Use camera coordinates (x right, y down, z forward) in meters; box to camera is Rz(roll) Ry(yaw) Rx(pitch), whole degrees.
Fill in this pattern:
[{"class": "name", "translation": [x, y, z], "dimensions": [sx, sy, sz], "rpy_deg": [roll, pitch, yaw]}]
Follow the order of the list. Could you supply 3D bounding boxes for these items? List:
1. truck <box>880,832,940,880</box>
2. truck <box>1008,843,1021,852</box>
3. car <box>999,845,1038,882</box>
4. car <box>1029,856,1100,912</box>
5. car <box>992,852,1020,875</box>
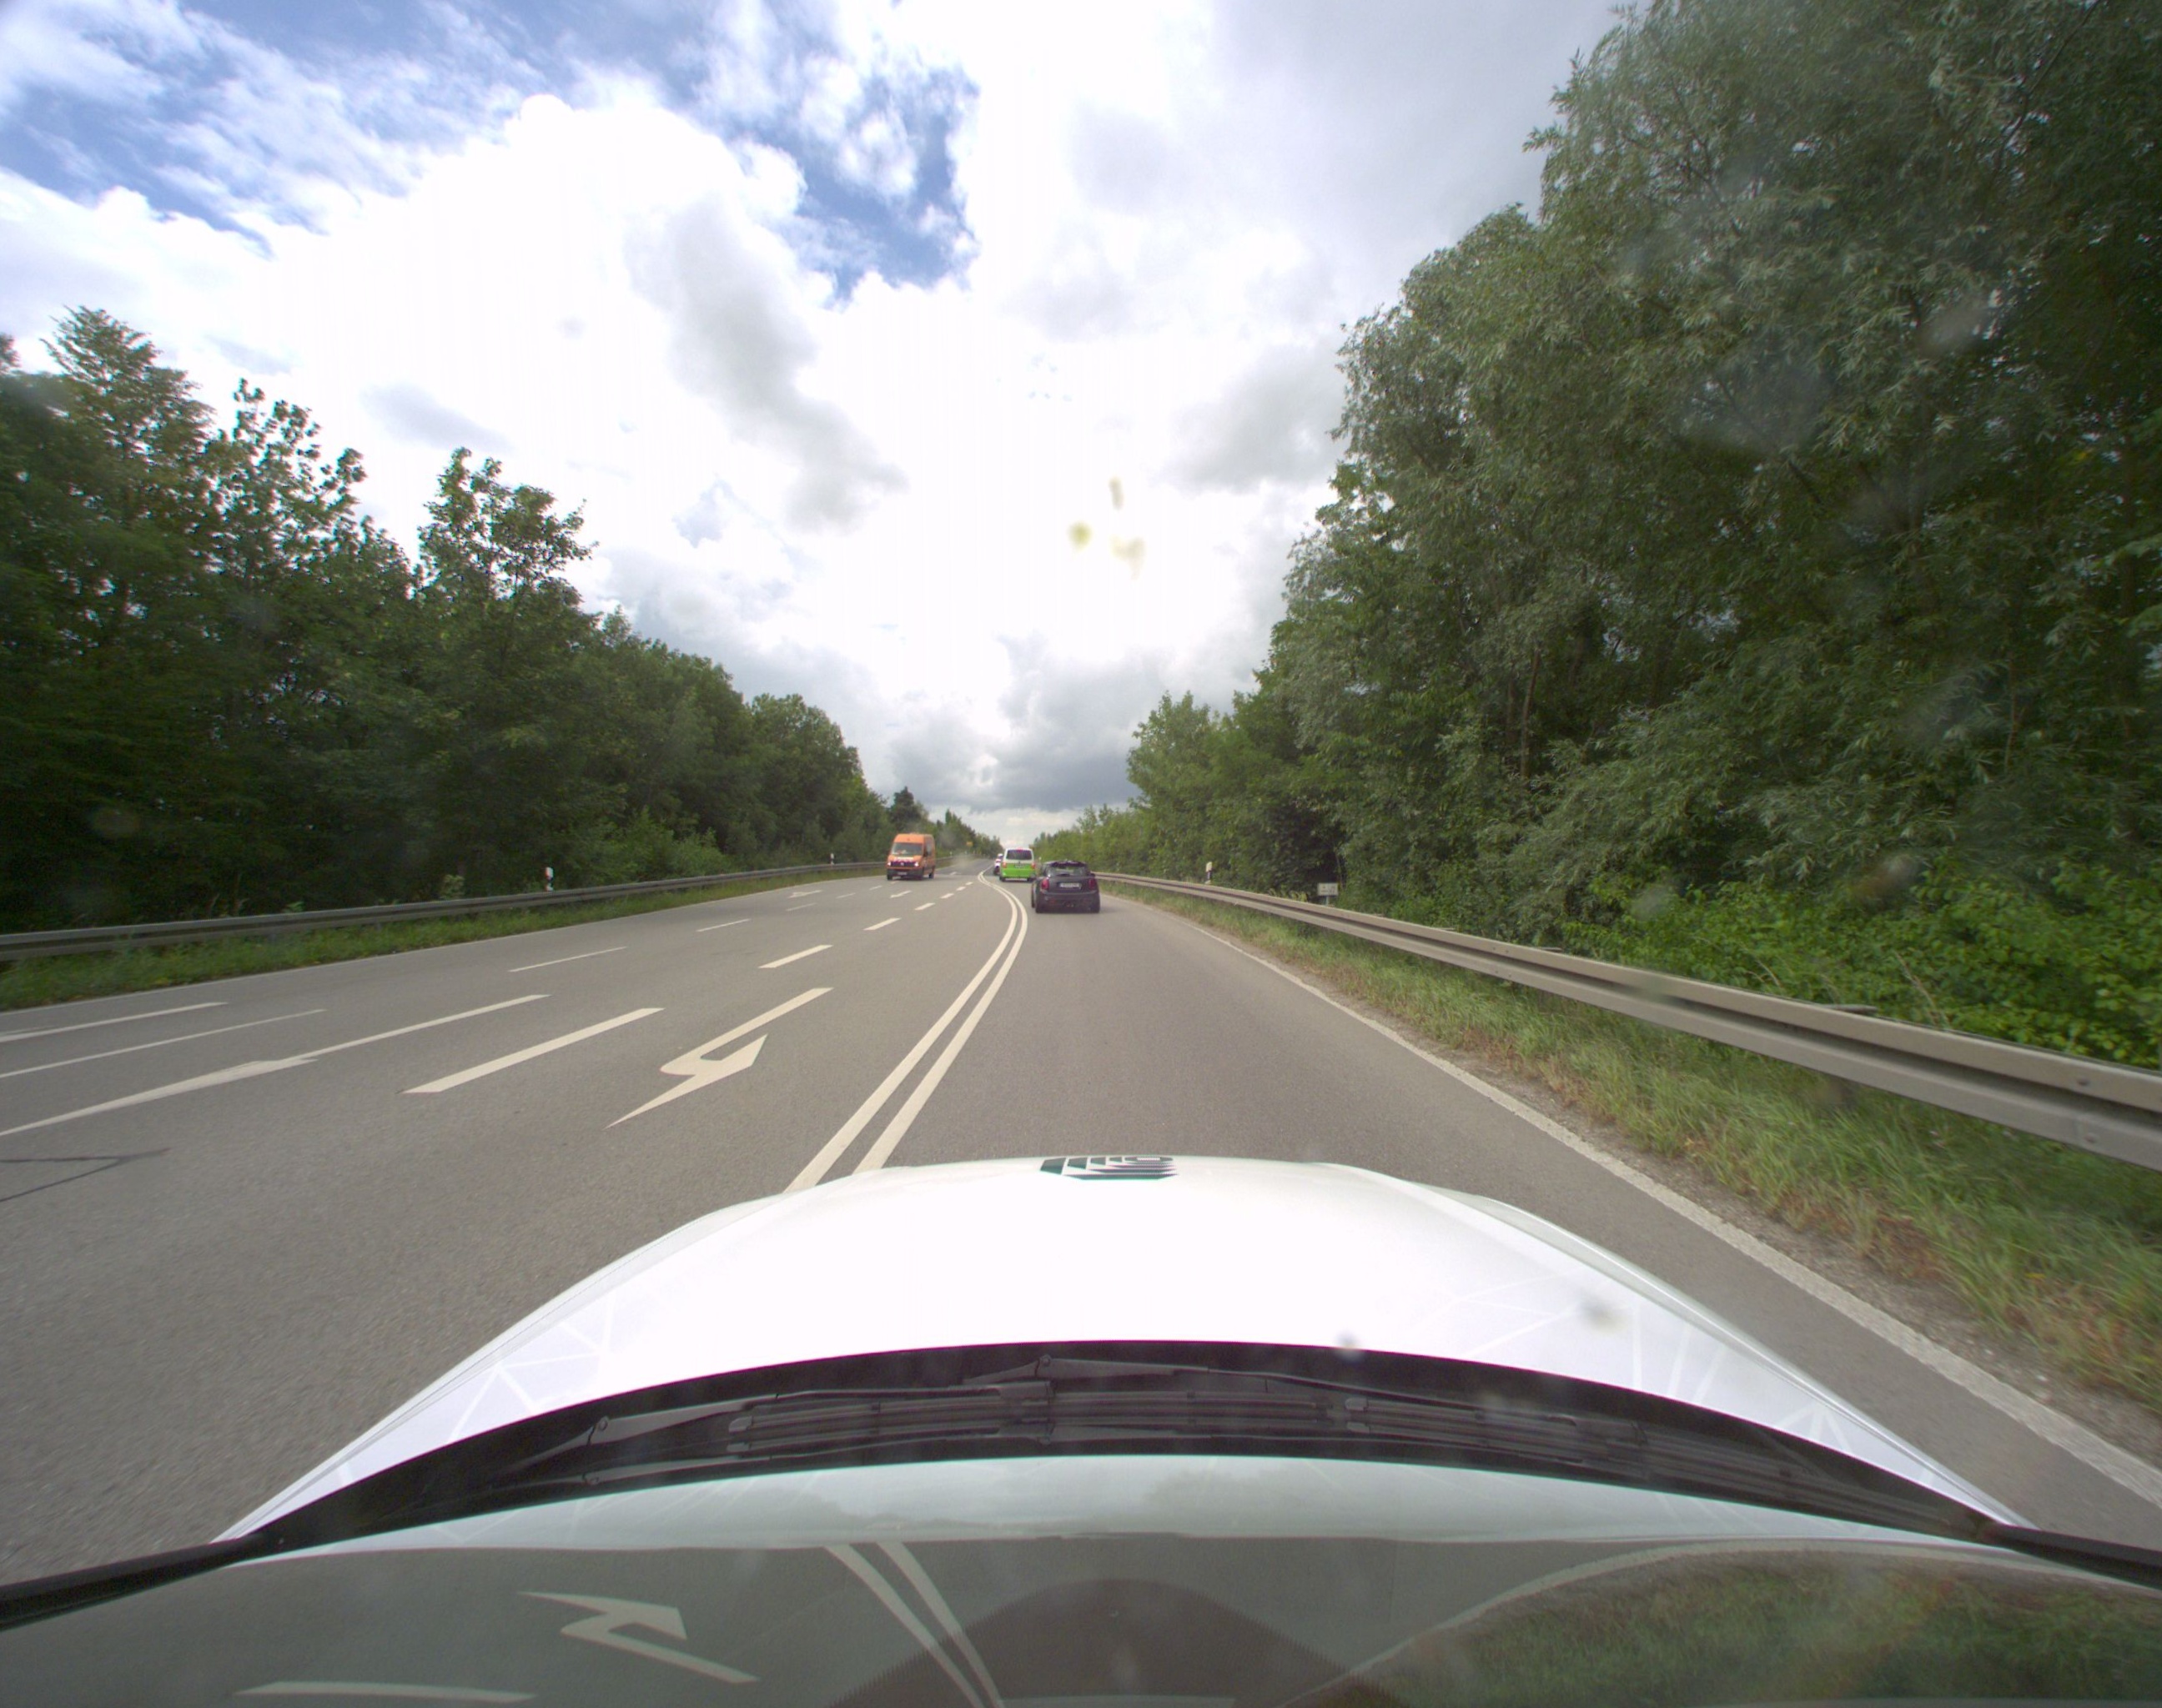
[{"class": "truck", "translation": [-9.800, 0.087, 47.187], "dimensions": [2.309, 2.601, 6.020], "rpy_deg": [0, 0, -1]}, {"class": "truck", "translation": [-17.465, -1.609, 214.366], "dimensions": [2.902, 2.372, 10.445], "rpy_deg": [0, 0, -1]}, {"class": "car", "translation": [-3.654, 0.500, 47.127], "dimensions": [2.021, 2.013, 3.989], "rpy_deg": [-1, 0, -8]}, {"class": "car", "translation": [-0.554, 0.802, 23.437], "dimensions": [1.730, 1.456, 3.991], "rpy_deg": [0, 0, -6]}, {"class": "car", "translation": [-5.515, 0.633, 59.518], "dimensions": [1.986, 1.618, 4.144], "rpy_deg": [0, 0, -7]}]
